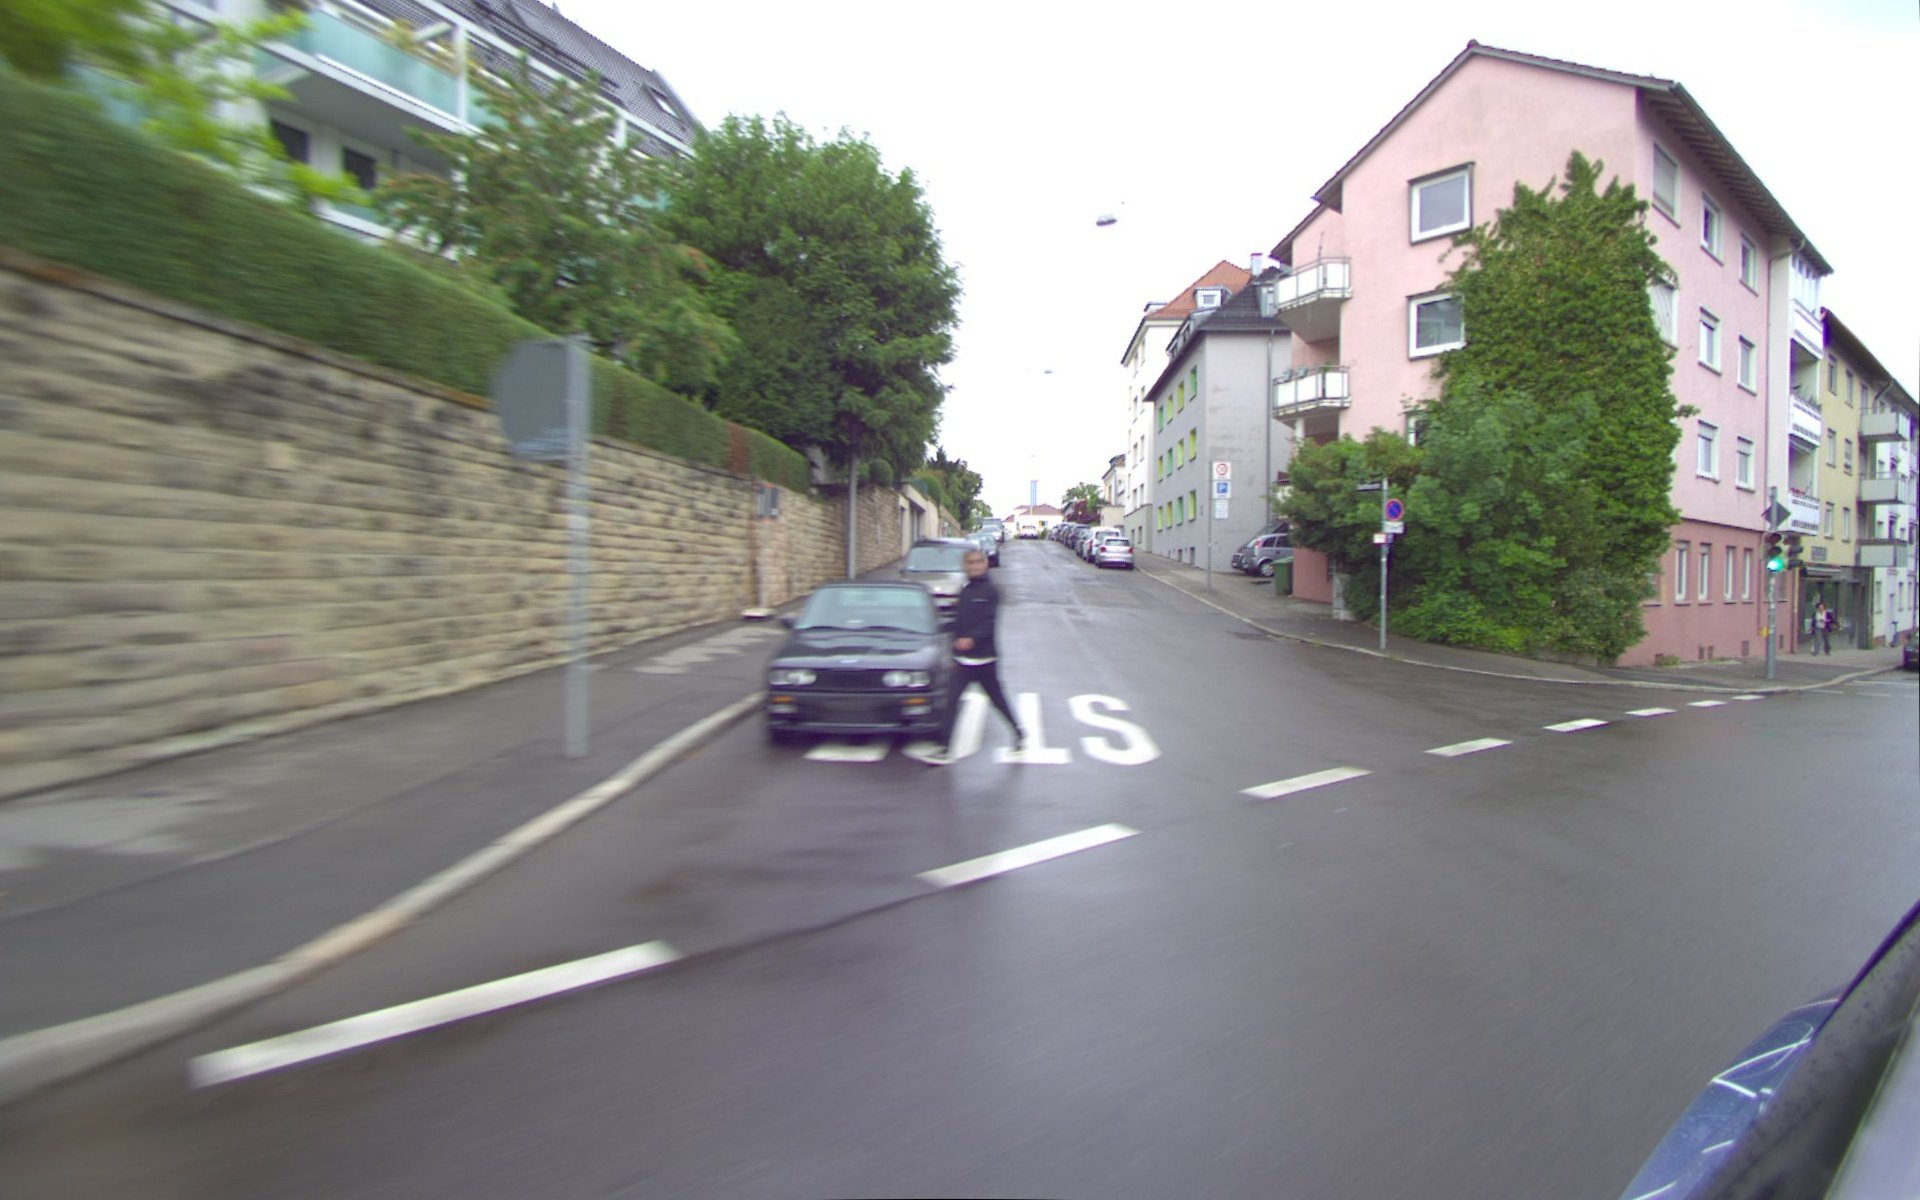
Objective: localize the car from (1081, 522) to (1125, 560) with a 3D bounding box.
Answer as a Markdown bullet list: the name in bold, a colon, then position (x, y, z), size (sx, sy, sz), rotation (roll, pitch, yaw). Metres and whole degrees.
- **car**: position (7.226, -3.044, 51.515), size (1.652, 1.786, 3.919), rotation (2, 5, 1)

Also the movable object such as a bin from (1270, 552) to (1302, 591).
- **movable object such as a bin**: position (10.226, -0.903, 31.751), size (0.754, 1.171, 0.740), rotation (3, 4, 39)

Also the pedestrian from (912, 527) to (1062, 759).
- **pedestrian**: position (0.218, 0.312, 8.153), size (0.889, 1.736, 0.725), rotation (1, 1, -40)

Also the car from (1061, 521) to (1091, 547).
- **car**: position (8.463, -4.858, 74.248), size (1.766, 1.717, 4.003), rotation (2, 5, 1)

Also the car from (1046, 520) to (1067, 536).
- **car**: position (10.109, -7.549, 106.013), size (1.766, 1.528, 4.003), rotation (2, 5, 1)

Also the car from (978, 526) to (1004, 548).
- **car**: position (2.260, -4.602, 73.582), size (1.654, 1.471, 3.844), rotation (0, 5, 5)

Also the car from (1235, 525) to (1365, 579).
- **car**: position (12.791, -1.833, 38.249), size (4.185, 1.884, 1.954), rotation (1, 5, 2)

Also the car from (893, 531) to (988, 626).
- **car**: position (-0.324, -0.570, 22.053), size (1.792, 1.760, 4.416), rotation (1, 4, 2)

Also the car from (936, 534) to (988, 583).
- **car**: position (0.101, -1.480, 34.667), size (1.652, 1.471, 4.342), rotation (0, 5, 1)

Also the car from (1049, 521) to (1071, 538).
- **car**: position (9.783, -6.987, 99.502), size (1.766, 1.528, 4.003), rotation (2, 5, 1)

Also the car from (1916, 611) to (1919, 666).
- **car**: position (29.265, 1.135, 29.357), size (4.433, 1.539, 1.795), rotation (1, 0, -41)

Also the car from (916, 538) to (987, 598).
- **car**: position (-0.186, -0.973, 28.990), size (1.767, 1.471, 4.000), rotation (1, 4, 3)

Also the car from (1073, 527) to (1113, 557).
- **car**: position (7.502, -3.333, 57.394), size (1.766, 1.528, 4.003), rotation (2, 5, 1)

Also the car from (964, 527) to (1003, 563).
- **car**: position (1.043, -2.513, 45.667), size (1.652, 1.471, 4.342), rotation (0, 5, 1)

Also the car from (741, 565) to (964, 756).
- **car**: position (-0.864, 0.414, 10.265), size (1.719, 1.409, 4.279), rotation (1, 3, 1)

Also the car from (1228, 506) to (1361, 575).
- **car**: position (13.357, -2.427, 40.676), size (4.513, 2.622, 2.336), rotation (1, 5, 5)

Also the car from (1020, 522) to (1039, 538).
- **car**: position (6.698, -6.736, 97.419), size (1.652, 1.471, 3.849), rotation (0, 5, 1)

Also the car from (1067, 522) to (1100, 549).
- **car**: position (8.324, -4.397, 68.627), size (1.766, 1.717, 4.003), rotation (2, 5, 1)

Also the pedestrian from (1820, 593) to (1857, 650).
- **pedestrian**: position (28.861, 0.692, 33.257), size (0.735, 1.795, 0.715), rotation (2, 2, -41)

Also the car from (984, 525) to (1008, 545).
- **car**: position (2.816, -5.036, 78.174), size (1.654, 1.471, 3.844), rotation (0, 5, 5)

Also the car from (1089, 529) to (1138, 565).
- **car**: position (7.058, -2.480, 46.851), size (1.652, 1.471, 3.919), rotation (2, 5, 1)
